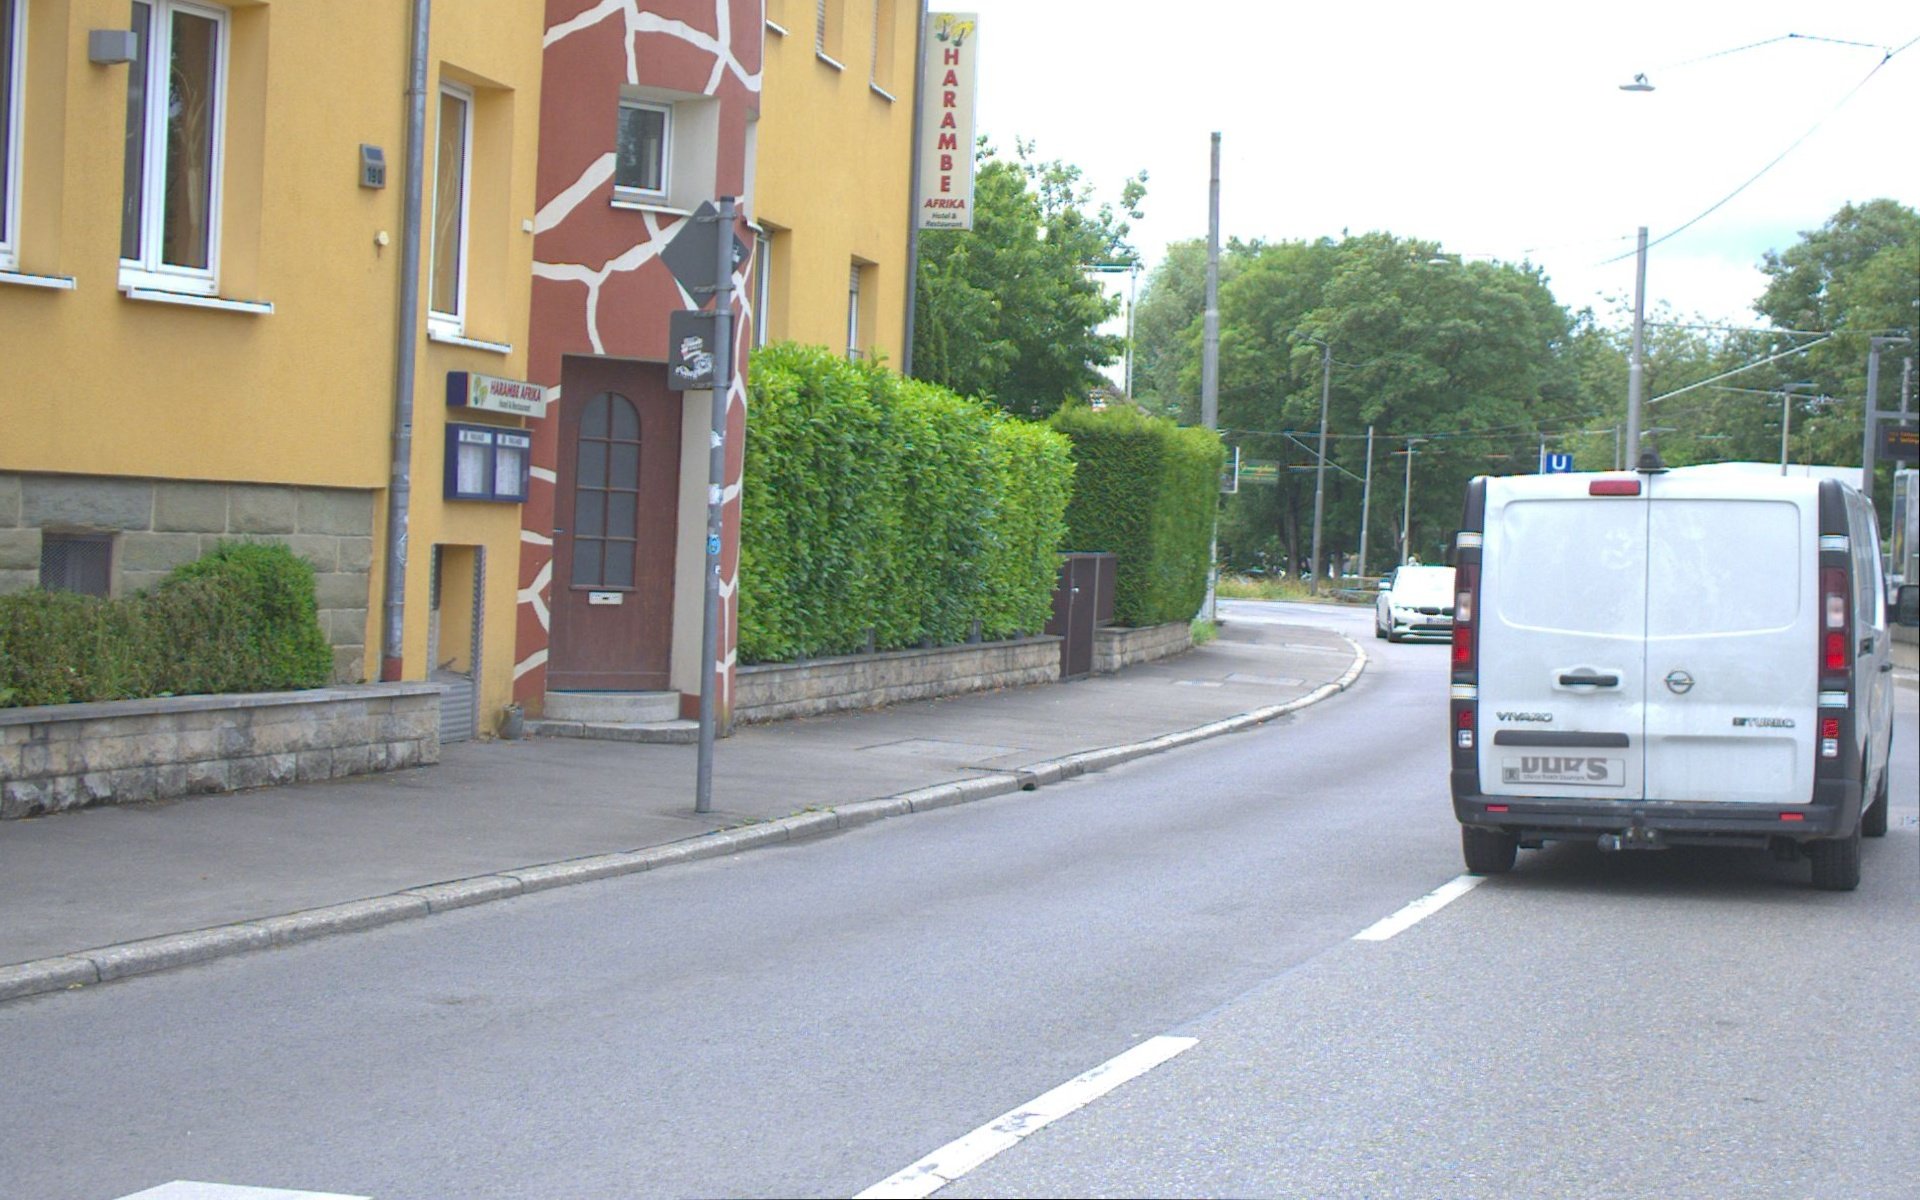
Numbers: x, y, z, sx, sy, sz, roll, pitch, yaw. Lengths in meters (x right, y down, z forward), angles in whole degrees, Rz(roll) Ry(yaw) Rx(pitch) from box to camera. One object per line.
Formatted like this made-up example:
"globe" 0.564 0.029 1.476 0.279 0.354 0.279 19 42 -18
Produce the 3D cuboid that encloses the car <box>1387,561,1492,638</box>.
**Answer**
"car" 9.191 -0.024 66.178 1.819 1.414 4.462 1 0 6

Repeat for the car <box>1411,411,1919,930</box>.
"car" 3.830 0.288 17.761 2.118 2.127 5.436 4 1 15
